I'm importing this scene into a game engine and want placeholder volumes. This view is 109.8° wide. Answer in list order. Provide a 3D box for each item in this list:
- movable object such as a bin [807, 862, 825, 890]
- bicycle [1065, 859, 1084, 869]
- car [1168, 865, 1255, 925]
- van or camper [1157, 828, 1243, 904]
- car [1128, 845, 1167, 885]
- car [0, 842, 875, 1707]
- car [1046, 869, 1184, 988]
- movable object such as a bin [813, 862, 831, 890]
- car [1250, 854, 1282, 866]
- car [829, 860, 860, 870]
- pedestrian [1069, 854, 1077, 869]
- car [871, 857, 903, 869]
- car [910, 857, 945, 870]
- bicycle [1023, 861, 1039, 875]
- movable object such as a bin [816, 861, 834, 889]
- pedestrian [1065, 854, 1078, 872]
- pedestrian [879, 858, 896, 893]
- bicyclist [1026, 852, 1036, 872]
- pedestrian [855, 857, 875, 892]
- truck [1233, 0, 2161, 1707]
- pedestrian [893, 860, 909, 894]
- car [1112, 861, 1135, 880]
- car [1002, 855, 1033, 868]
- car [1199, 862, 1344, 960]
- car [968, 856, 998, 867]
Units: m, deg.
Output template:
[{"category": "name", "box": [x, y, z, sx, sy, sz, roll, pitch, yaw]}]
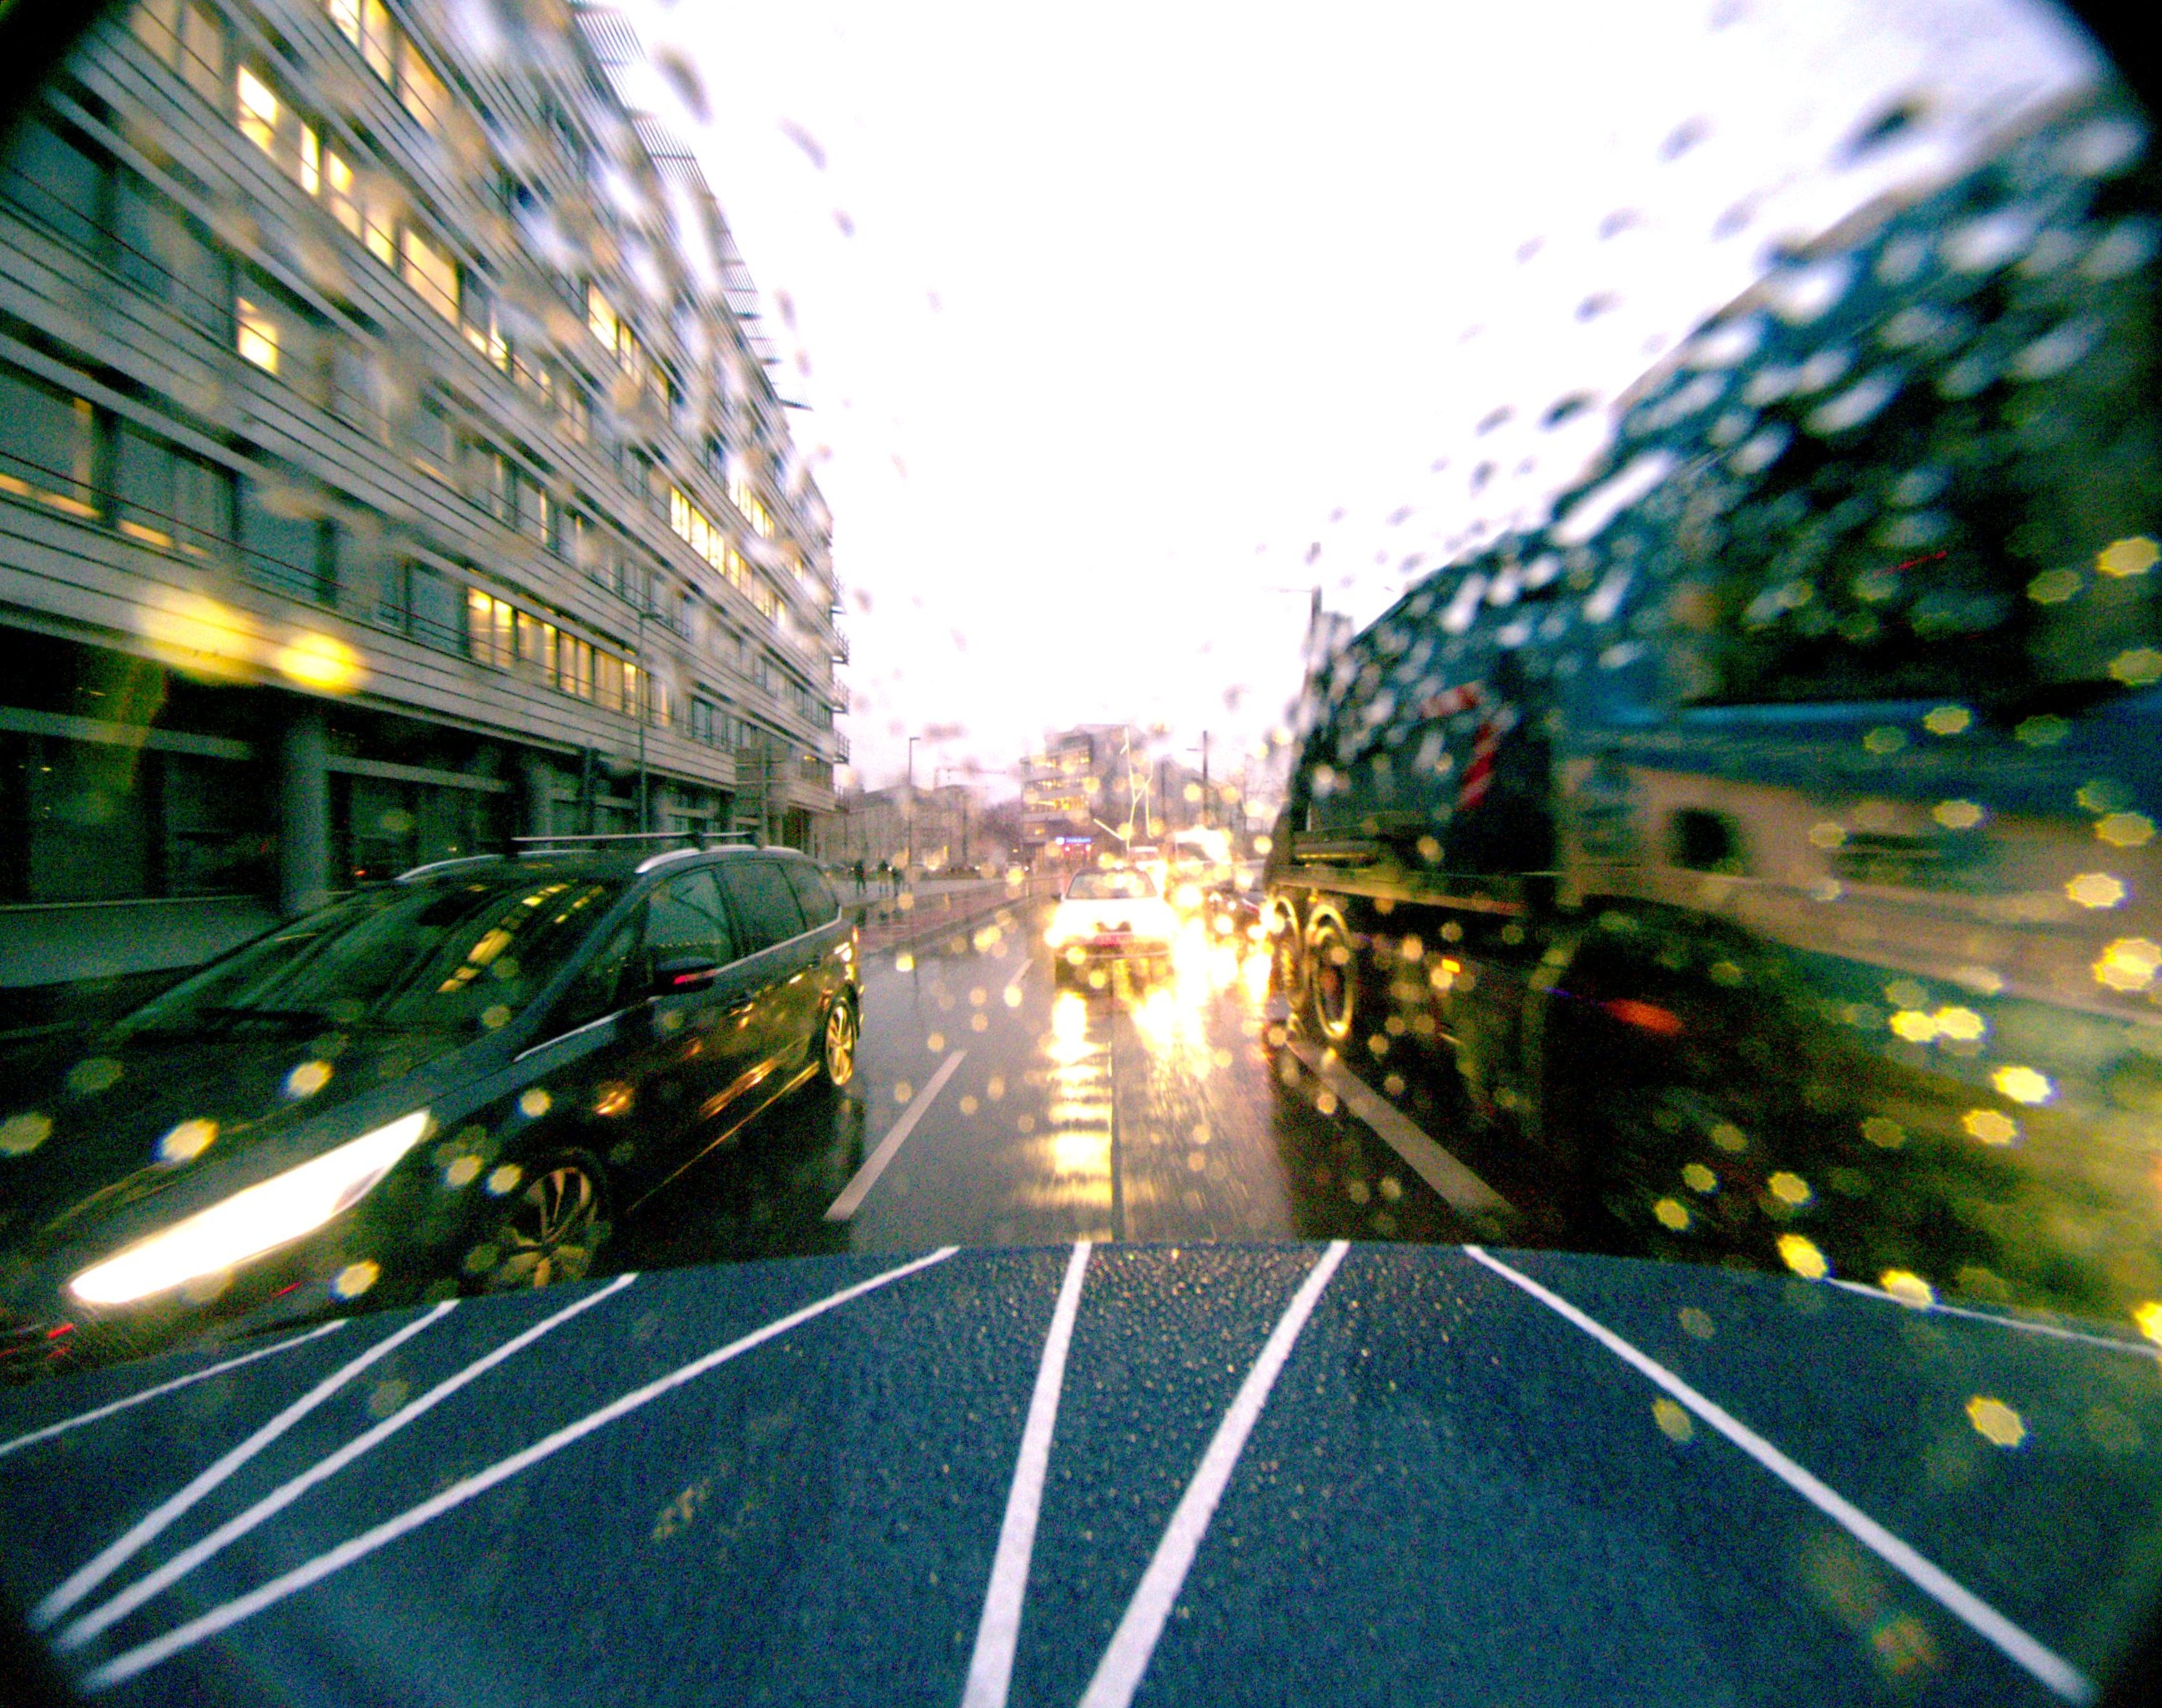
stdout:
[{"category": "movable object such as a bin", "box": [-13.575, 1.119, 38.959, 0.666, 1.420, 0.840, -1, 0, -3]}, {"category": "bicycle", "box": [-0.738, 1.195, 90.449, 2.203, 1.182, 0.668, 0, 1, 4]}, {"category": "car", "box": [3.328, 1.010, 20.058, 1.759, 1.337, 4.057, -1, 0, 3]}, {"category": "van or camper", "box": [4.255, 0.402, 28.213, 2.153, 2.517, 5.898, -1, 0, -1]}, {"category": "car", "box": [5.062, 0.802, 58.334, 2.130, 2.847, 5.812, -1, 0, -3]}, {"category": "car", "box": [-2.659, 0.913, 3.715, 1.887, 1.800, 4.671, -2, 0, 1]}, {"category": "car", "box": [0.457, 1.003, 11.840, 1.782, 1.464, 3.943, -1, 0, 0]}, {"category": "movable object such as a bin", "box": [-13.574, 1.137, 39.856, 0.666, 1.420, 0.840, -1, 0, -3]}, {"category": "car", "box": [24.168, 0.770, 99.201, 1.796, 1.412, 3.890, -1, 0, -31]}, {"category": "car", "box": [-35.570, 1.680, 114.399, 3.997, 1.496, 2.002, -1, 0, 16]}, {"category": "pedestrian", "box": [-0.907, 0.892, 90.415, 0.892, 1.783, 0.668, 0, 1, 4]}, {"category": "car", "box": [-28.520, 1.336, 111.575, 3.997, 1.663, 2.002, -1, 0, 16]}, {"category": "car", "box": [-22.067, 1.317, 109.249, 4.368, 1.750, 2.002, -1, 0, 16]}, {"category": "bicycle", "box": [-4.508, 1.232, 68.710, 0.680, 1.191, 1.764, 0, 0, 22]}, {"category": "movable object such as a bin", "box": [-13.743, 1.145, 40.785, 0.666, 1.468, 0.840, -1, 0, -3]}, {"category": "pedestrian", "box": [-1.074, 0.972, 85.654, 1.118, 2.002, 1.034, 0, 1, 15]}, {"category": "pedestrian", "box": [-9.588, 1.039, 37.634, 0.651, 1.692, 0.884, 1, 0, -3]}, {"category": "bicyclist", "box": [-4.516, 0.748, 68.709, 0.670, 1.787, 0.807, 0, 1, 21]}, {"category": "pedestrian", "box": [-10.836, 1.028, 38.127, 0.747, 1.692, 0.969, 2, 0, -3]}, {"category": "truck", "box": [3.118, -0.165, 4.518, 2.846, 3.612, 7.526, -1, 0, 0]}, {"category": "pedestrian", "box": [-8.898, 1.140, 37.637, 0.616, 1.659, 0.884, 1, 0, -3]}, {"category": "car", "box": [4.355, 1.703, 78.454, 2.170, 1.744, 4.540, 1, 2, 0]}, {"category": "car", "box": [-8.781, 1.035, 105.093, 3.918, 1.699, 1.782, -1, 0, 14]}, {"category": "car", "box": [3.281, 0.907, 13.818, 1.634, 1.514, 3.942, 0, -1, 0]}, {"category": "car", "box": [-13.673, 1.061, 106.261, 3.759, 1.528, 1.783, 0, 0, 17]}]
